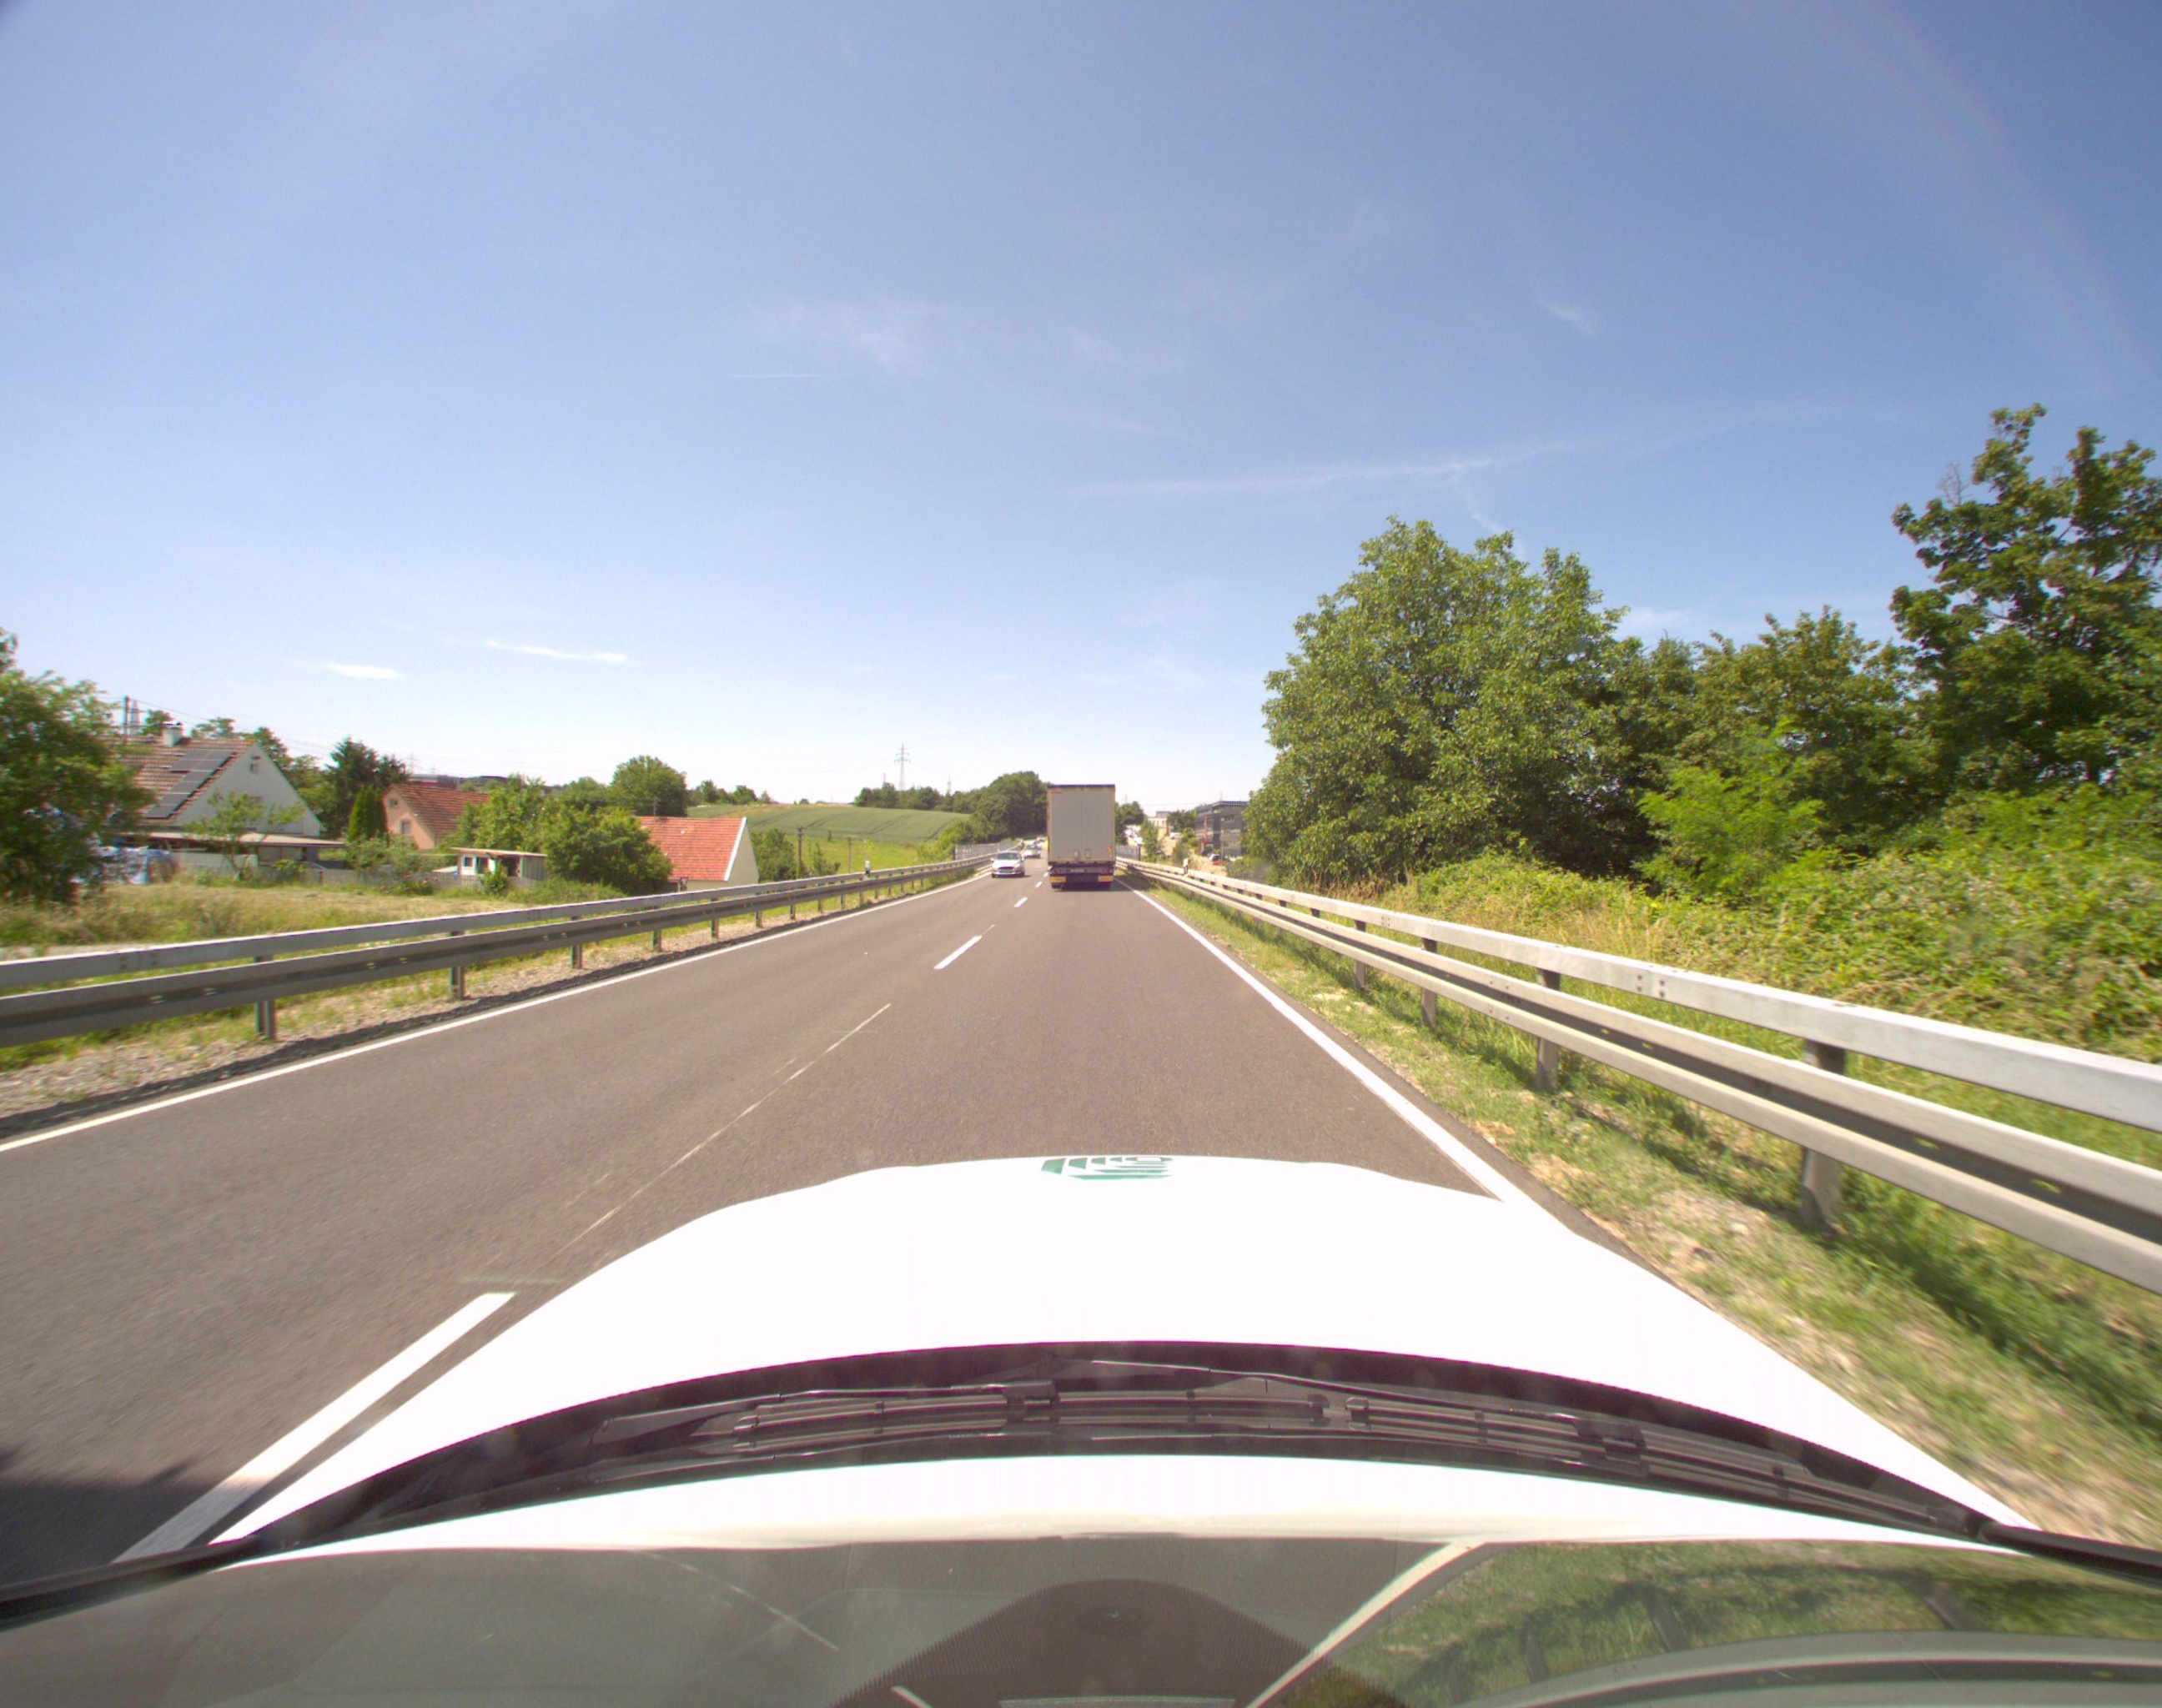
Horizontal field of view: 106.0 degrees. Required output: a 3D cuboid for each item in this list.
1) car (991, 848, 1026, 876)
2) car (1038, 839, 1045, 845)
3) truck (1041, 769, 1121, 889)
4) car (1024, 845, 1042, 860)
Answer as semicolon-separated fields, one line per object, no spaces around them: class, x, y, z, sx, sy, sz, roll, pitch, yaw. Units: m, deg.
car;-4.073;0.410;46.134;1.642;1.440;4.156;-2;1;-1
car;-9.703;-2.943;200.521;1.777;1.435;4.829;-1;1;-3
truck;-0.091;-0.913;34.923;2.858;4.359;9.783;-1;0;-1
car;-5.362;-0.191;91.931;1.801;1.589;4.377;-1;0;-1
